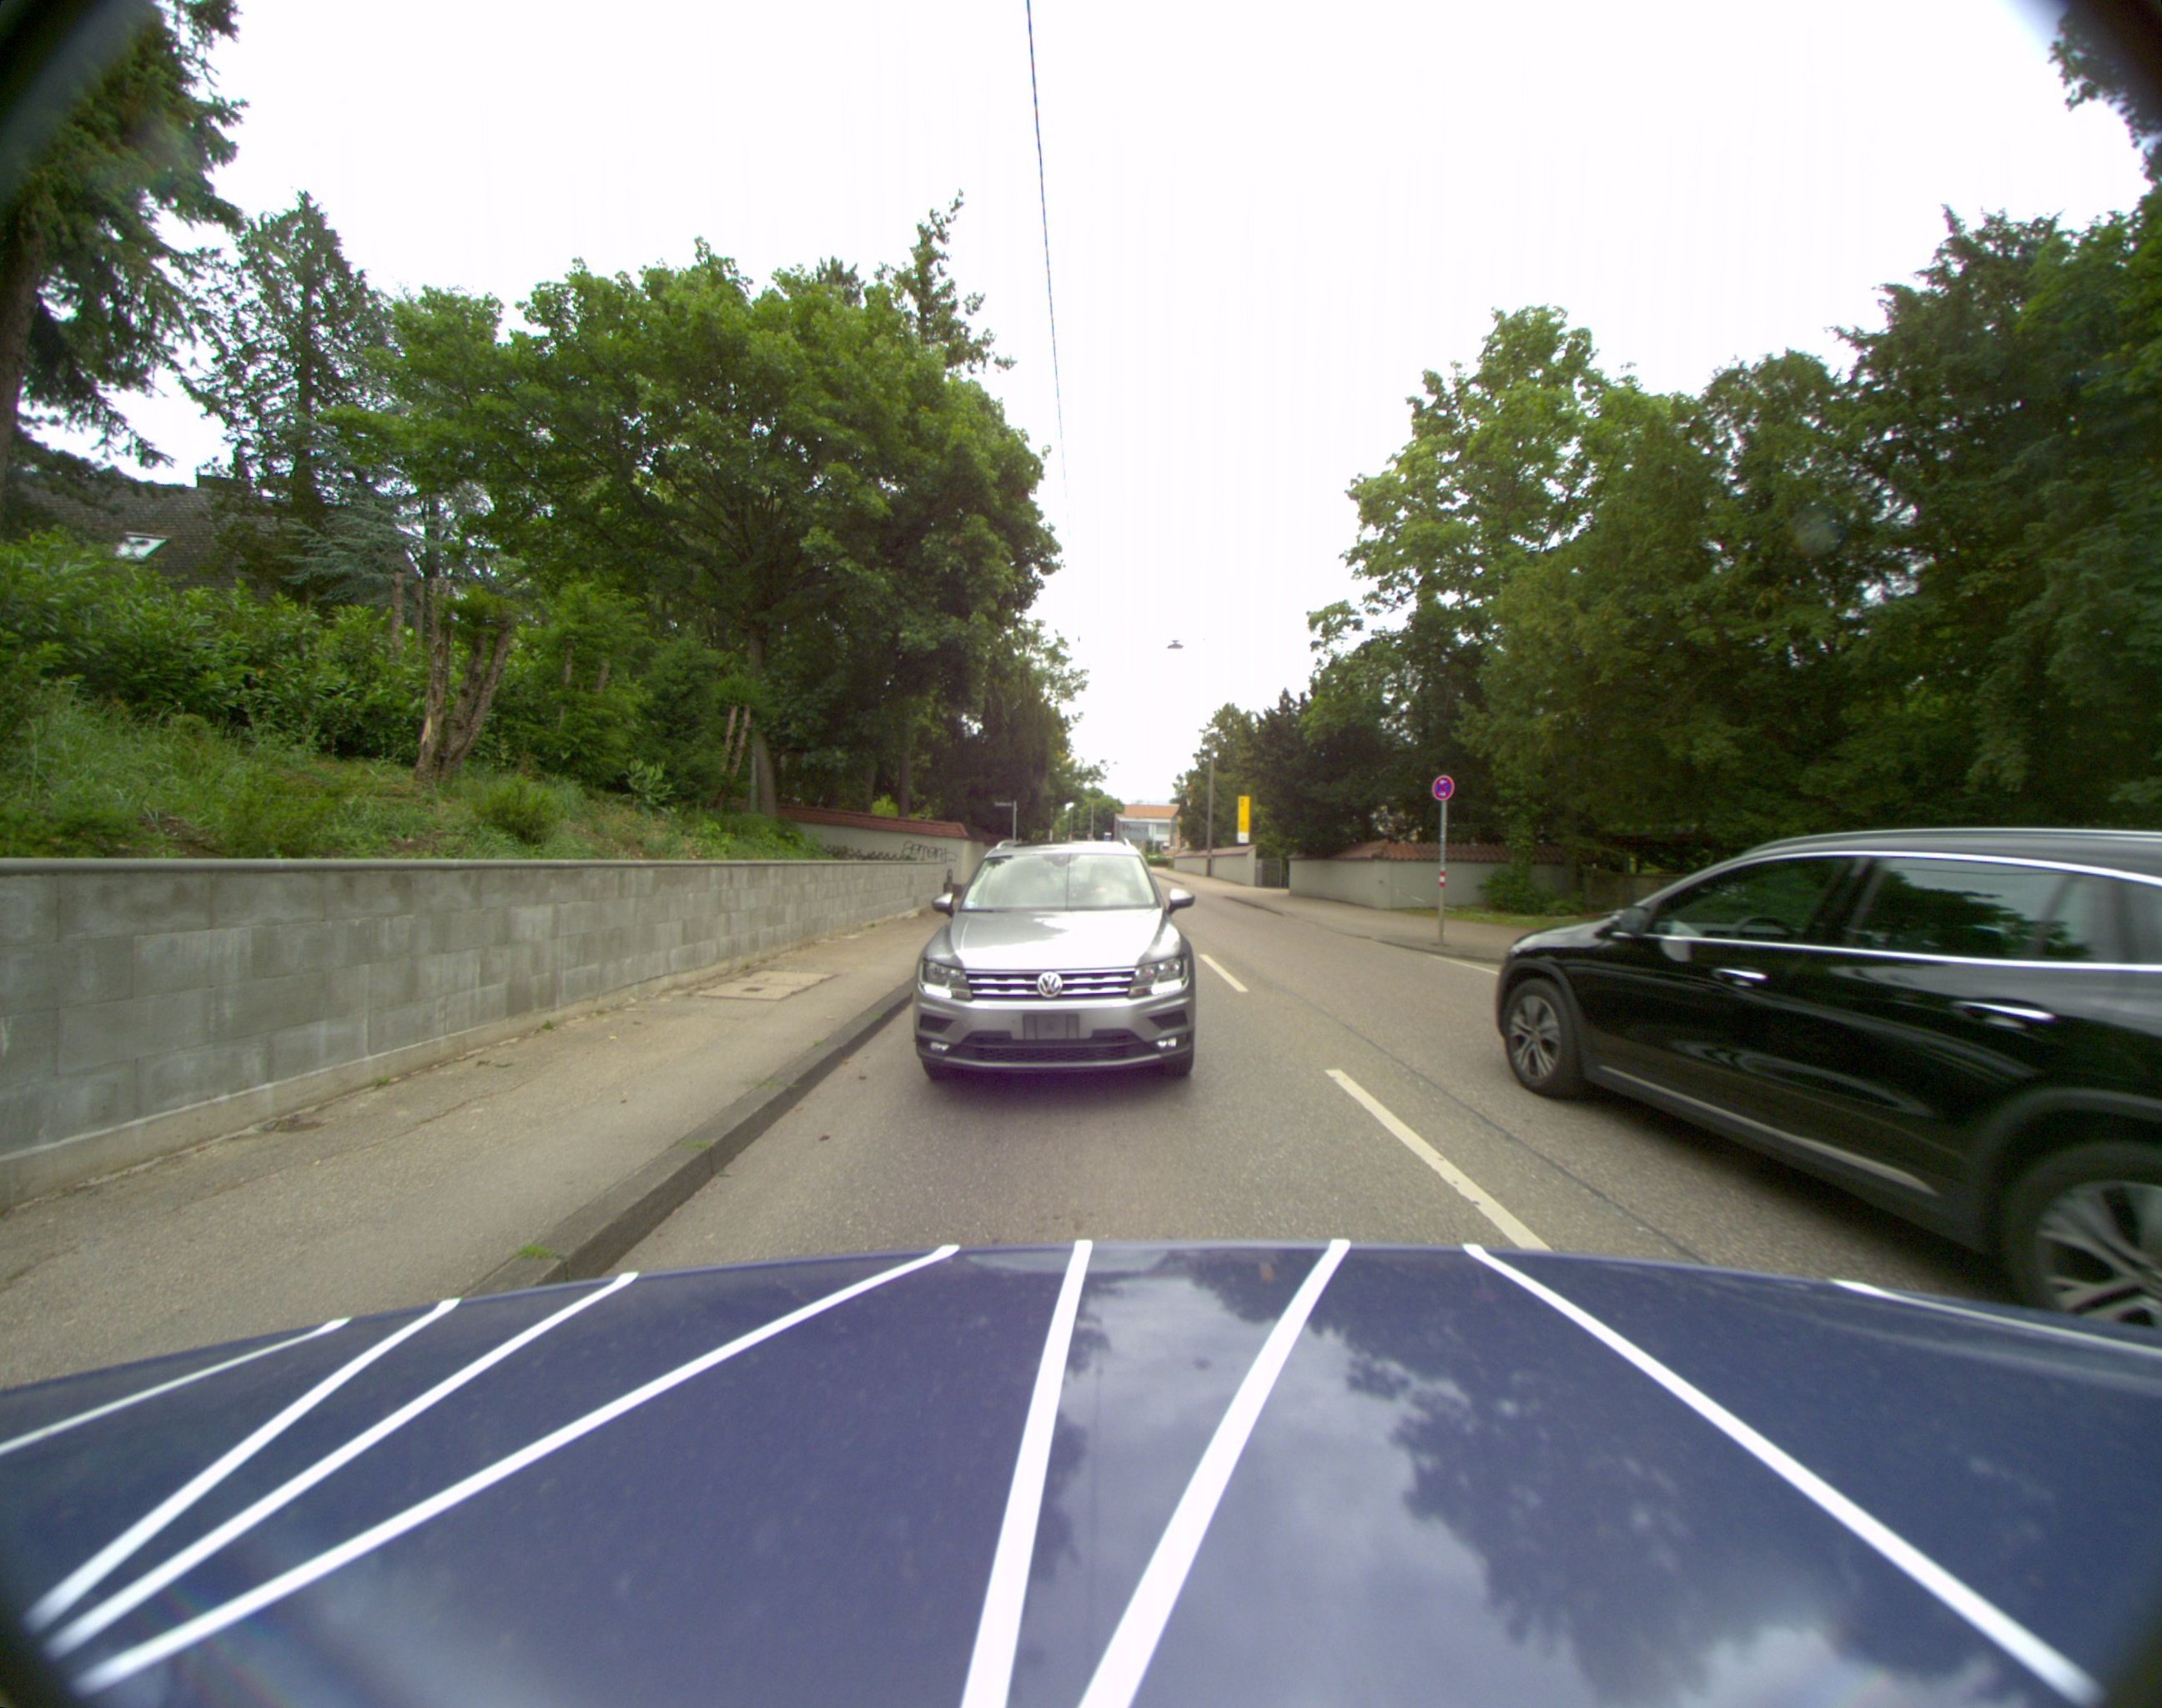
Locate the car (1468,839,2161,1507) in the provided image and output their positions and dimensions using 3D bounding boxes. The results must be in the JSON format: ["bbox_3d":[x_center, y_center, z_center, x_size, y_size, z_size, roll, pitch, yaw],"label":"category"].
[{"bbox_3d":[3.649,0.826,3.140,1.864,1.648,4.306,3,0,1],"label":"car"}]

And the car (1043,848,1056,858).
[{"bbox_3d":[-5.212,-0.159,127.114,1.789,1.644,4.120,3,0,1],"label":"car"}]

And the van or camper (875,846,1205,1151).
[{"bbox_3d":[-0.200,0.780,6.253,1.800,1.663,4.198,0,0,1],"label":"van or camper"}]
